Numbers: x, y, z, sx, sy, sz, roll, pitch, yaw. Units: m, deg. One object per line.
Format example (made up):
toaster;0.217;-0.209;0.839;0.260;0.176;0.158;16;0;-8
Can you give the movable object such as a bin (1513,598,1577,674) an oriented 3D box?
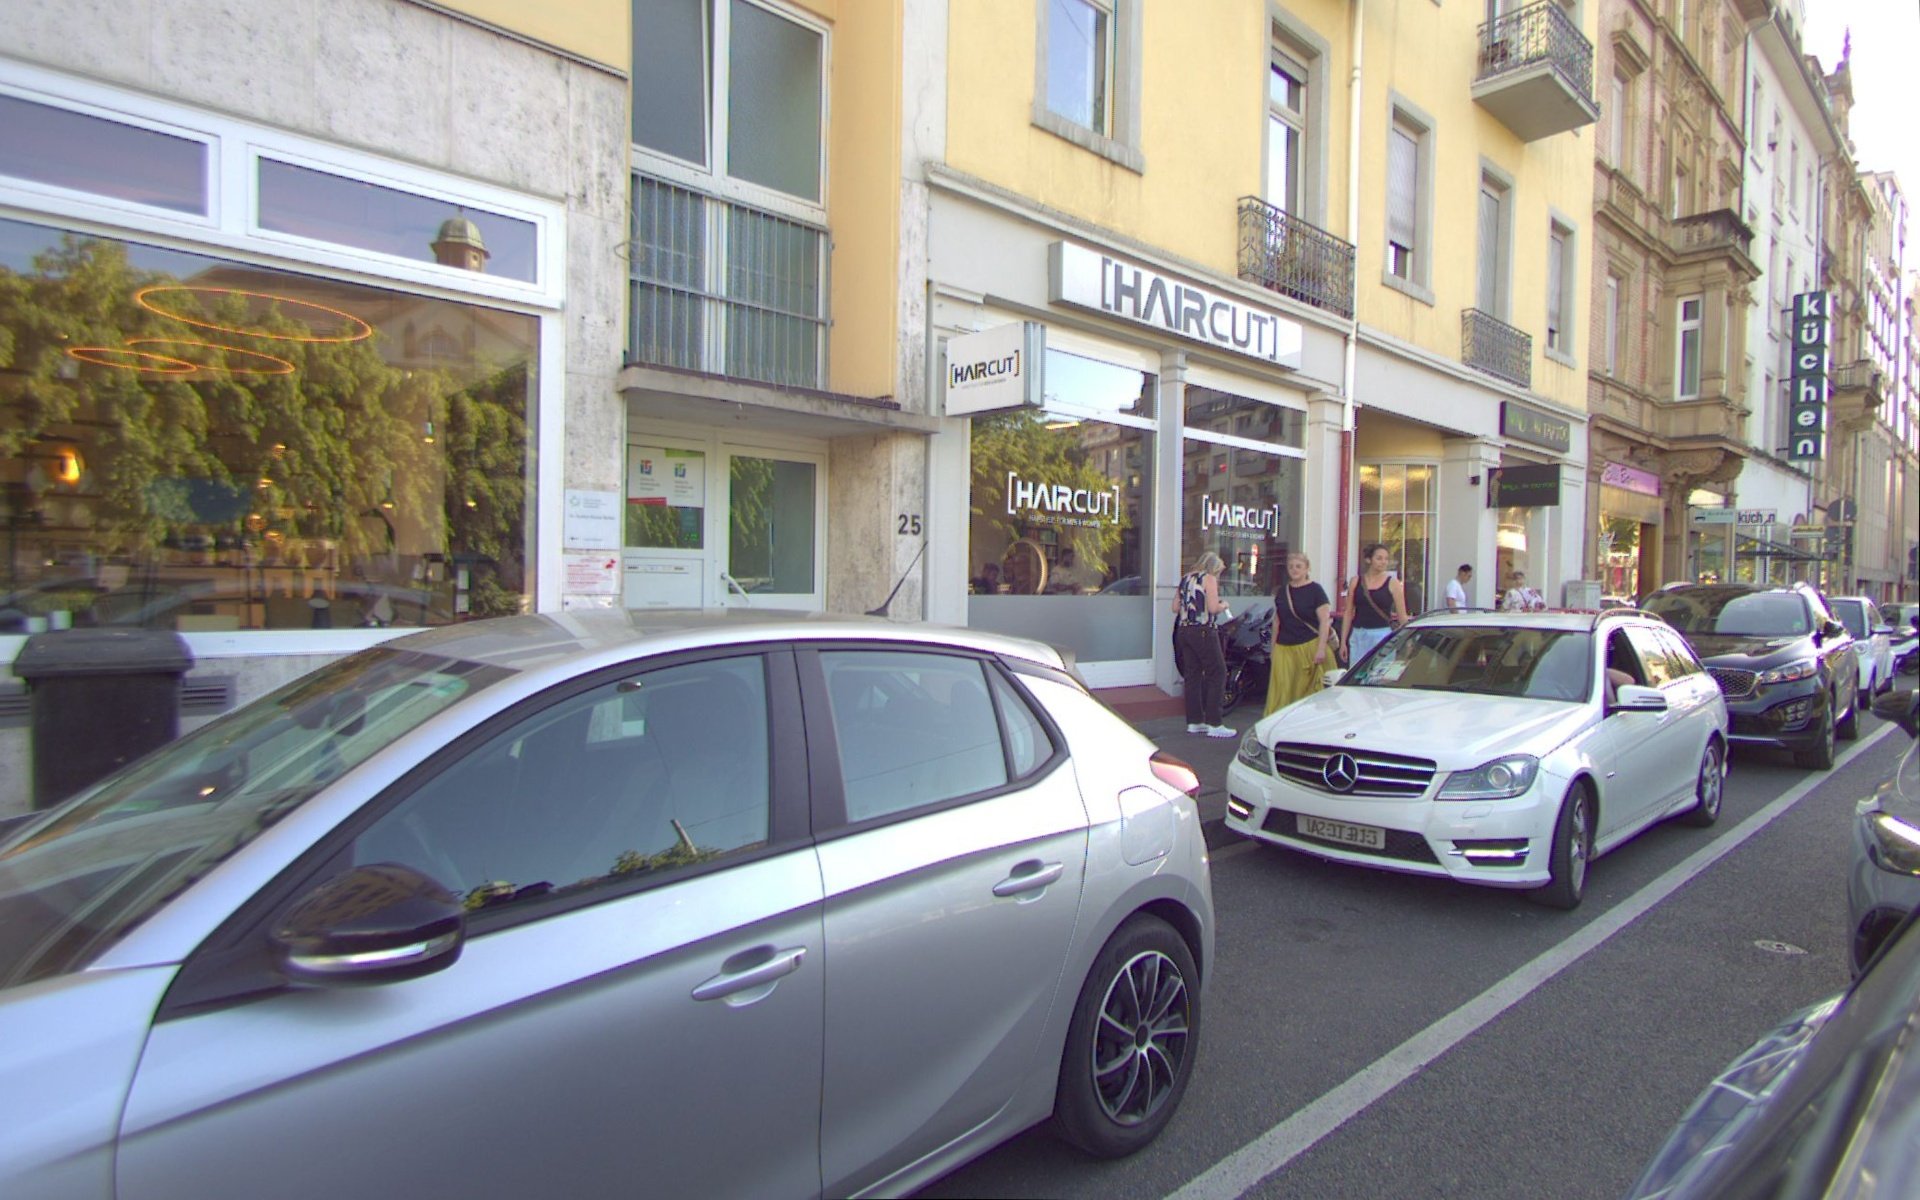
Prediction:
movable object such as a bin;8.815;0.525;15.247;0.608;1.079;0.606;0;4;-41

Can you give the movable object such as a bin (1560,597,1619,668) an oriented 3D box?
movable object such as a bin;10.233;0.519;16.454;0.608;1.079;0.606;0;4;-41

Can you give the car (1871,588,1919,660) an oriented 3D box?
car;22.076;0.514;22.992;4.096;1.537;1.734;0;1;-44

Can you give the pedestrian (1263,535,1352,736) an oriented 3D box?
pedestrian;2.987;0.287;8.705;0.614;1.653;0.457;1;0;35

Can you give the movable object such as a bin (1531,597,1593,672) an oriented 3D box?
movable object such as a bin;9.304;0.519;15.654;0.608;1.079;0.606;0;4;-41

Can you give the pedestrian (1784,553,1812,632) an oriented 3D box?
pedestrian;19.309;-0.178;23.321;0.473;1.785;0.434;0;0;-41

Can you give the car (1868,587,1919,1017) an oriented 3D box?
car;5.404;0.697;4.280;4.297;1.467;1.846;0;1;-41

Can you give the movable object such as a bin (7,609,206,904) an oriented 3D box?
movable object such as a bin;-3.666;0.611;4.366;0.609;1.080;0.704;0;4;-41

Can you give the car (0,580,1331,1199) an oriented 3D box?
car;-0.892;0.687;2.433;4.007;1.445;1.673;0;1;-42

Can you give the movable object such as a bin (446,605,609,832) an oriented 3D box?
movable object such as a bin;-2.361;0.593;5.505;0.609;1.080;0.704;0;4;-41

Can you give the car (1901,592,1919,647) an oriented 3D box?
car;26.646;0.503;27.124;3.736;1.435;1.736;0;1;-41

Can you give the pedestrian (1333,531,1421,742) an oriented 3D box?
pedestrian;3.395;0.285;8.259;0.407;1.653;0.515;0;0;-34

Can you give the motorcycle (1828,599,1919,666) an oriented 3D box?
motorcycle;19.073;0.650;20.469;2.137;1.295;0.866;1;0;7

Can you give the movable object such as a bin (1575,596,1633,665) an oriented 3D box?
movable object such as a bin;10.747;0.499;16.894;0.608;1.079;0.606;0;4;-41

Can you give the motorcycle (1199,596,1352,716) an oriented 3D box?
motorcycle;3.292;0.527;10.443;1.975;1.105;0.551;0;3;-42

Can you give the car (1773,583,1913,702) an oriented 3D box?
car;12.776;0.538;14.606;2.748;1.537;1.273;0;1;-44

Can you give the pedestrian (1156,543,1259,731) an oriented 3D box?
pedestrian;2.275;0.312;9.314;0.523;1.653;0.697;0;2;-43

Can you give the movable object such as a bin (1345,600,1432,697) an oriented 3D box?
movable object such as a bin;4.990;0.545;11.785;0.608;1.037;0.669;0;3;-38

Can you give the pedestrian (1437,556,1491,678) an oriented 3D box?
pedestrian;7.011;0.233;14.086;0.513;1.681;0.339;1;1;-15

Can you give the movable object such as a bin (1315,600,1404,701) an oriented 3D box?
movable object such as a bin;4.496;0.546;11.394;0.608;1.054;0.661;1;3;-38

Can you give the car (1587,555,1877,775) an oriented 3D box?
car;8.018;0.494;10.329;4.498;1.758;1.756;0;1;-45

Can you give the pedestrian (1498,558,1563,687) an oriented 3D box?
pedestrian;7.641;0.293;13.574;0.583;1.681;0.450;2;1;12

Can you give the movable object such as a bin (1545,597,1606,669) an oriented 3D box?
movable object such as a bin;9.762;0.512;16.047;0.608;1.079;0.606;0;4;-41

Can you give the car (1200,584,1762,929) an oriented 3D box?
car;3.545;0.648;6.448;4.387;1.465;1.741;0;1;-42
